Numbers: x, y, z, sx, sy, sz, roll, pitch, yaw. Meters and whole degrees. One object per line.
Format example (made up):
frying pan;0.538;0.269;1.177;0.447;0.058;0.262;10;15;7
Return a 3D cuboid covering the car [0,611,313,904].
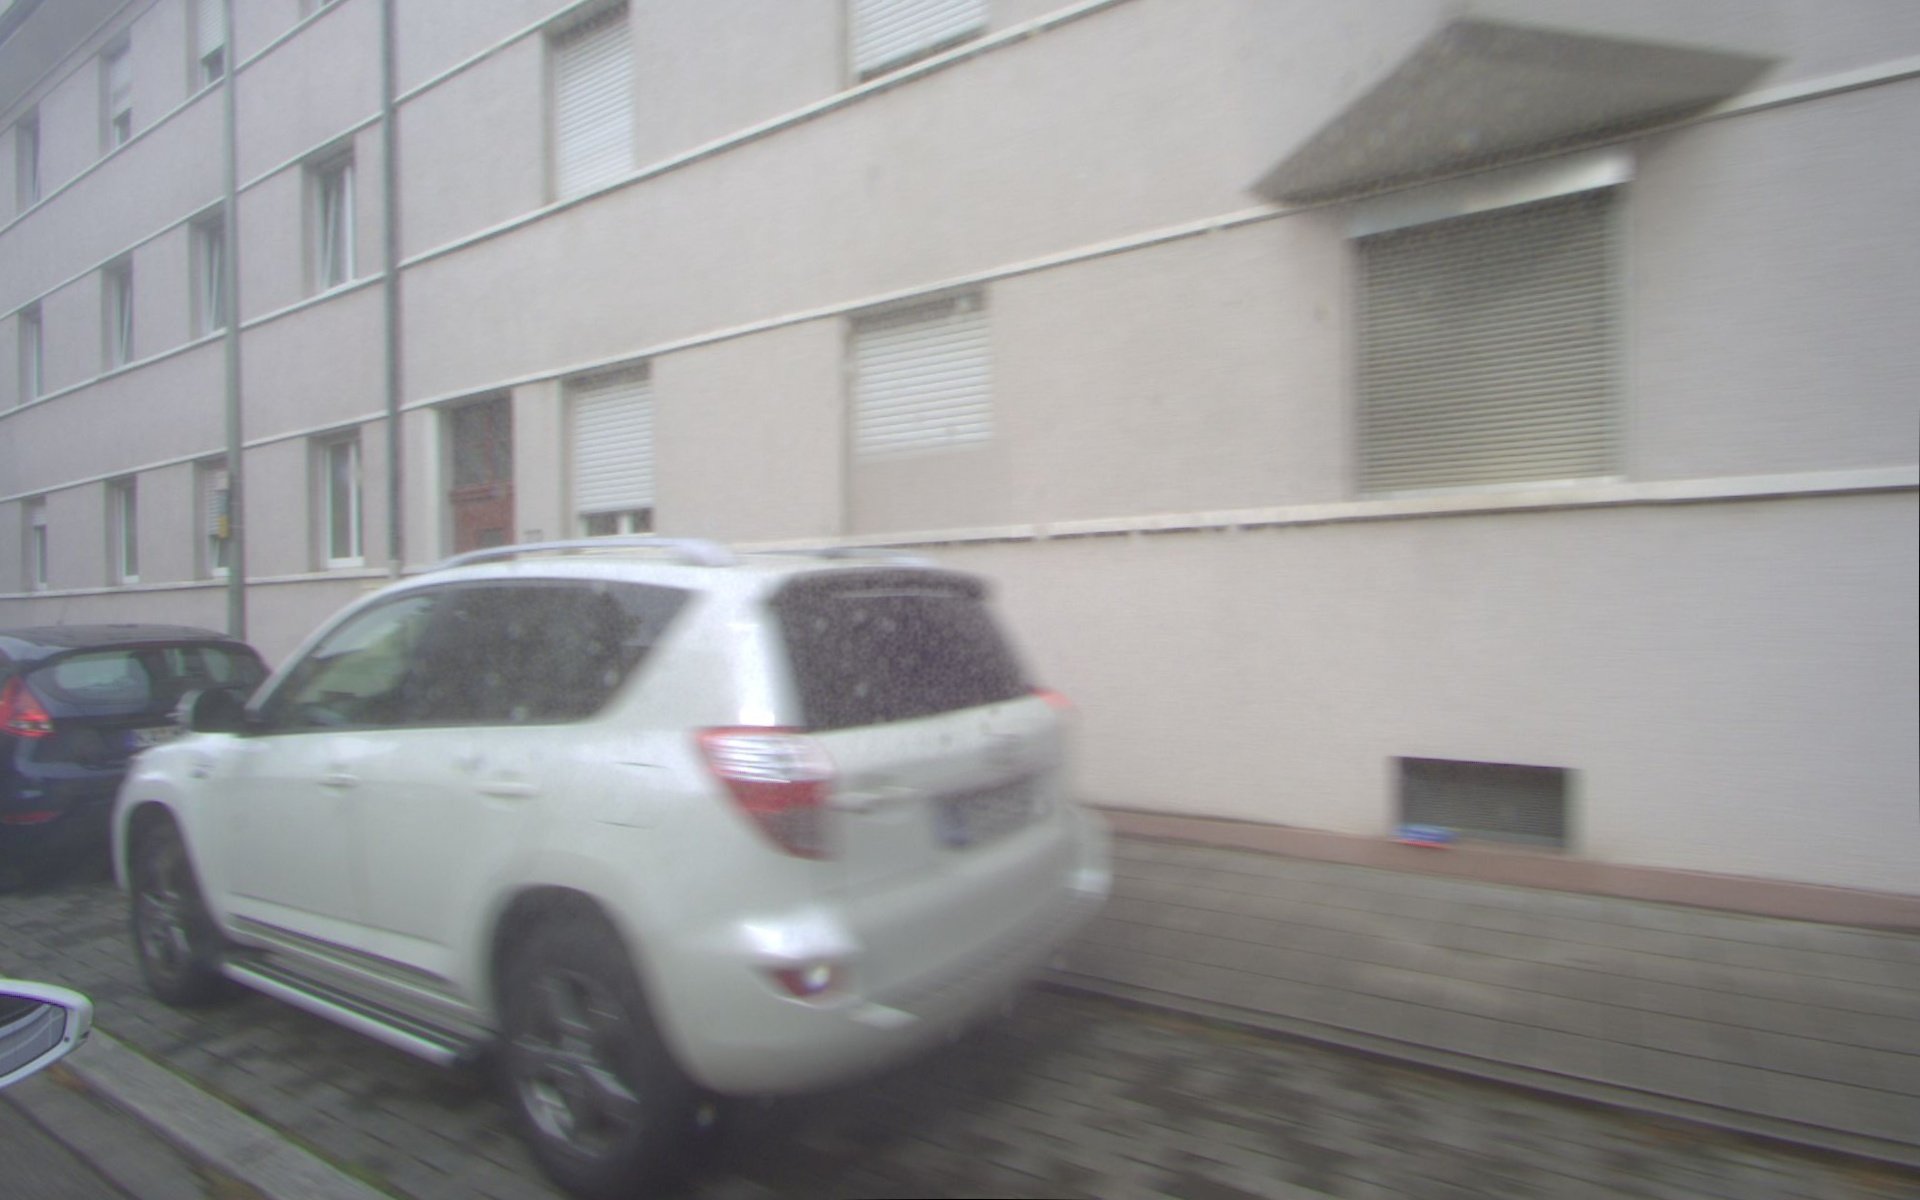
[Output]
car;-6.132;0.836;6.799;3.817;1.498;1.563;-1;0;34

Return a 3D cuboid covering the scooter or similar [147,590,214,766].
scooter or similar;-9.295;0.918;11.954;0.340;2.039;0.677;2;-2;-18

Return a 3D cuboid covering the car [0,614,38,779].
car;-10.561;0.918;9.701;3.645;1.493;1.562;-1;2;34

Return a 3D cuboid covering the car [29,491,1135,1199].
car;-1.643;0.637;3.926;4.226;1.696;1.839;0;1;31
